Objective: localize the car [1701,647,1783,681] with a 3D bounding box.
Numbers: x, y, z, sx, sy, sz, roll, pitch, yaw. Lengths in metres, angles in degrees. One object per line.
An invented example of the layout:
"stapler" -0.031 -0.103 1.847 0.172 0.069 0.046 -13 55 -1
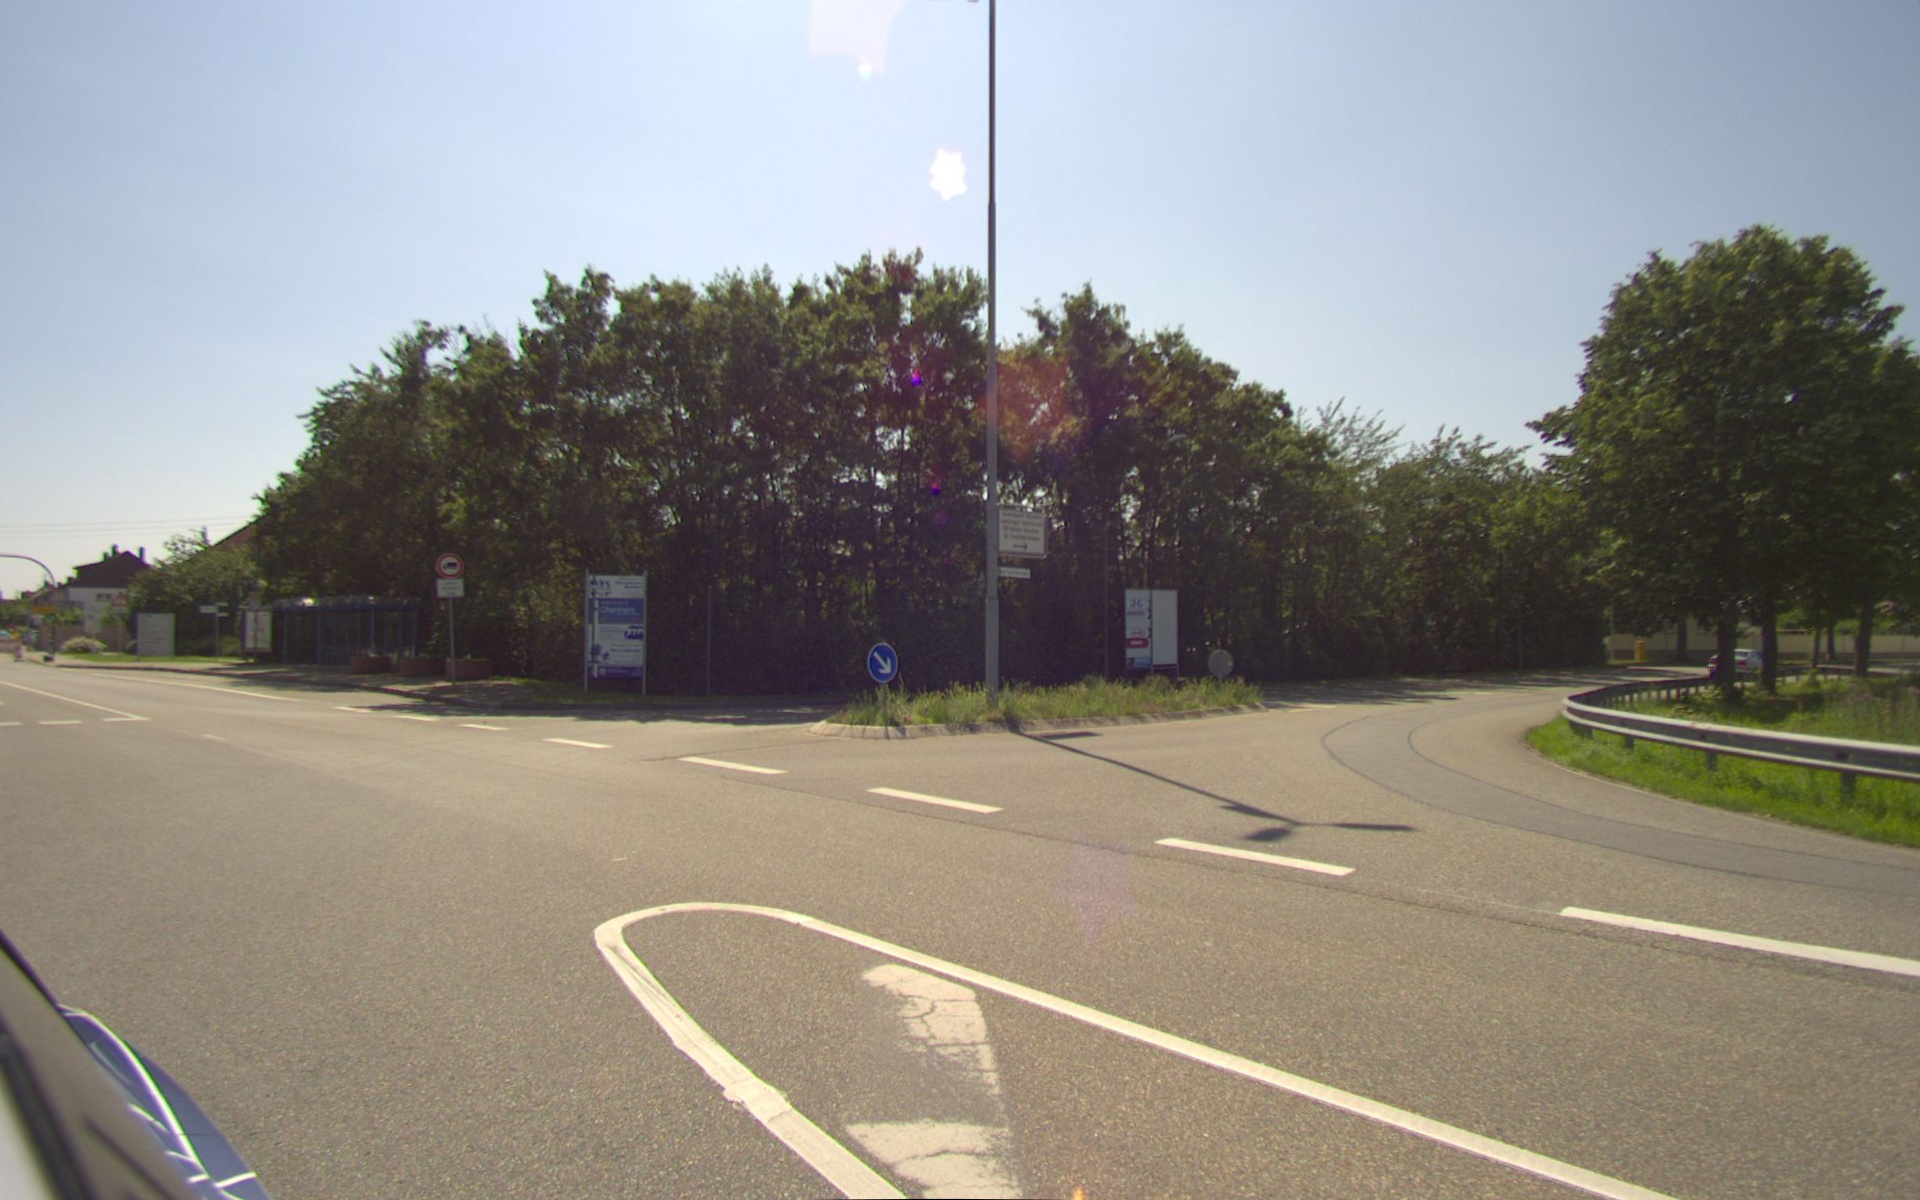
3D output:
"car" 36.576 2.942 47.303 4.341 1.482 1.646 1 -2 -33

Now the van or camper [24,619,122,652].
"van or camper" -79.189 3.171 90.467 2.285 2.866 6.188 -2 -3 35

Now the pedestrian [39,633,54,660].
"pedestrian" -56.363 2.860 62.435 0.688 1.620 0.607 -2 0 44
